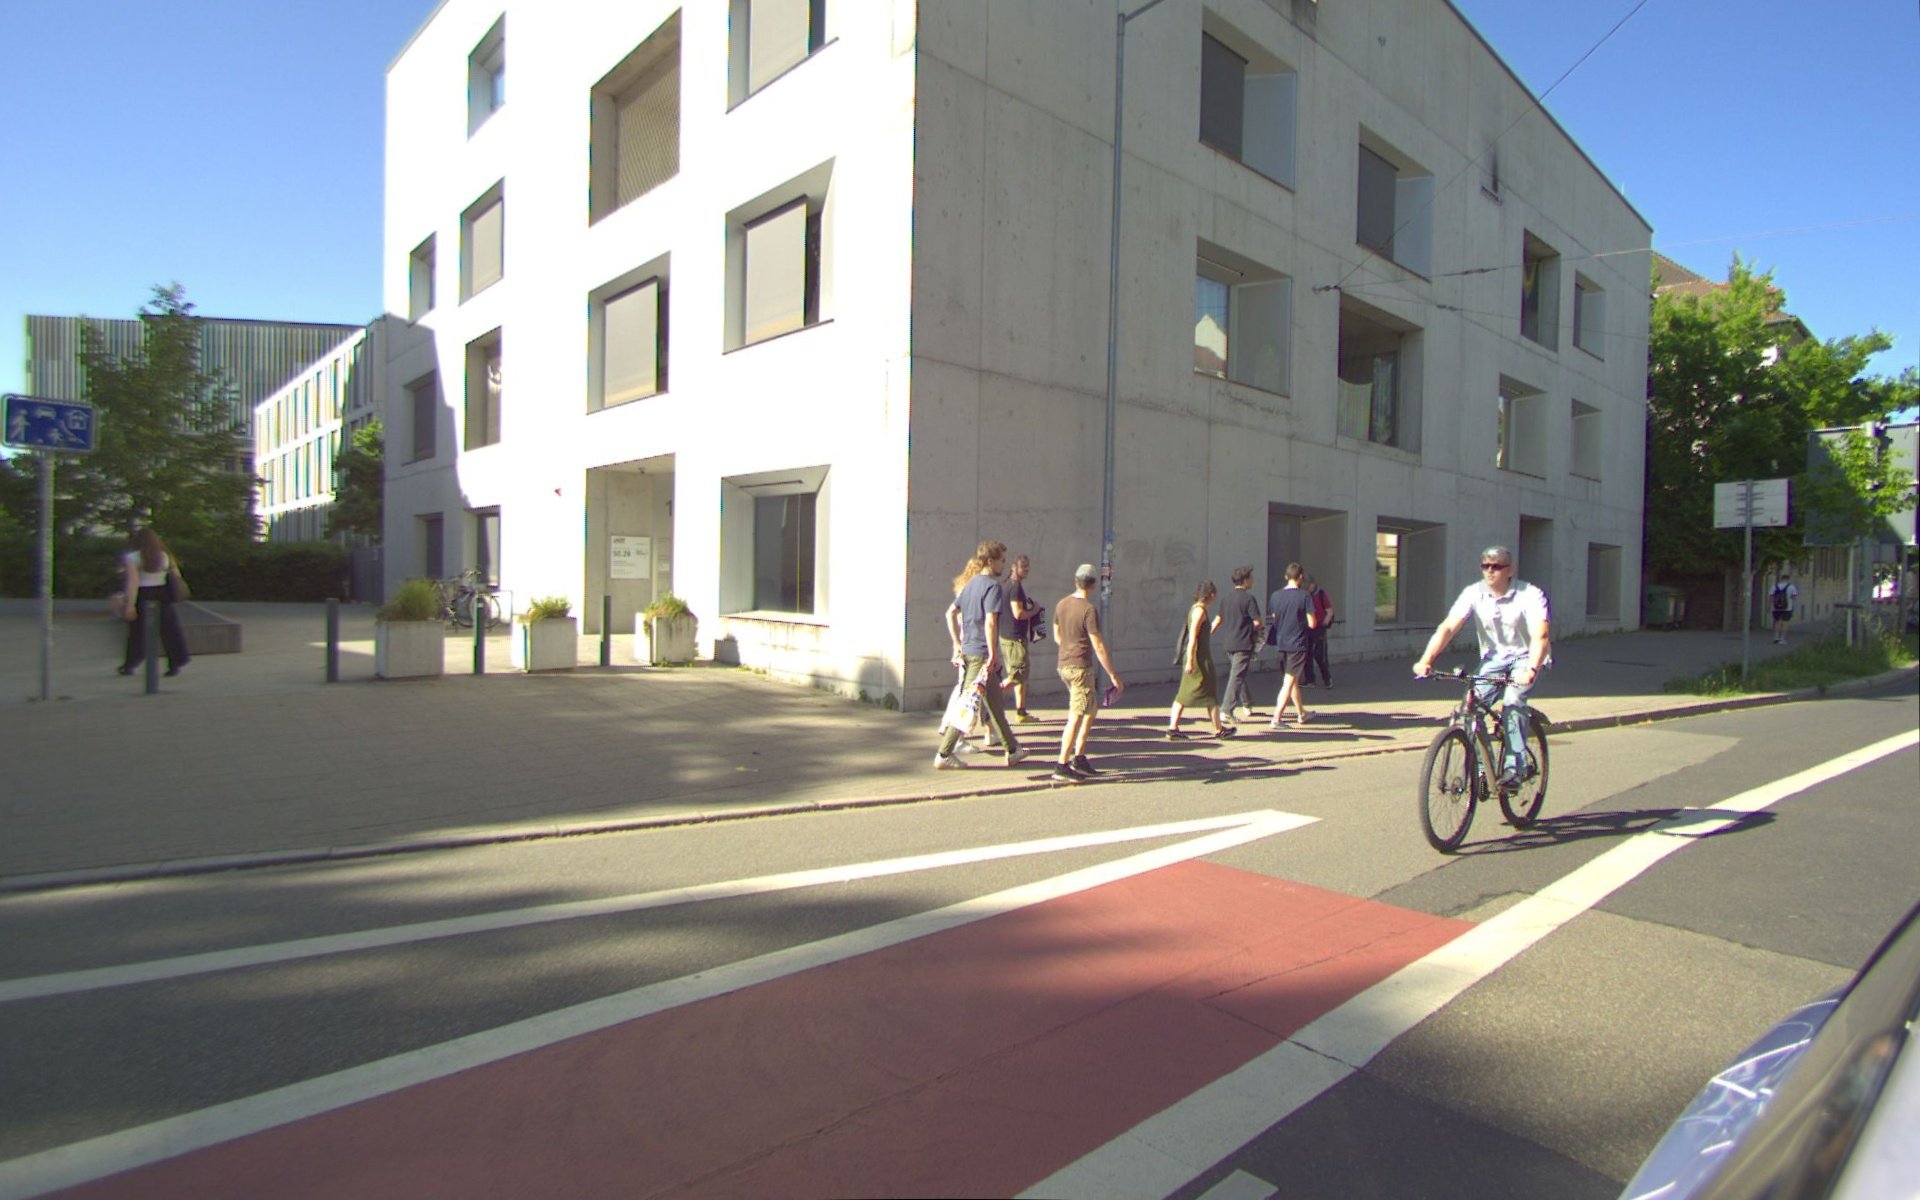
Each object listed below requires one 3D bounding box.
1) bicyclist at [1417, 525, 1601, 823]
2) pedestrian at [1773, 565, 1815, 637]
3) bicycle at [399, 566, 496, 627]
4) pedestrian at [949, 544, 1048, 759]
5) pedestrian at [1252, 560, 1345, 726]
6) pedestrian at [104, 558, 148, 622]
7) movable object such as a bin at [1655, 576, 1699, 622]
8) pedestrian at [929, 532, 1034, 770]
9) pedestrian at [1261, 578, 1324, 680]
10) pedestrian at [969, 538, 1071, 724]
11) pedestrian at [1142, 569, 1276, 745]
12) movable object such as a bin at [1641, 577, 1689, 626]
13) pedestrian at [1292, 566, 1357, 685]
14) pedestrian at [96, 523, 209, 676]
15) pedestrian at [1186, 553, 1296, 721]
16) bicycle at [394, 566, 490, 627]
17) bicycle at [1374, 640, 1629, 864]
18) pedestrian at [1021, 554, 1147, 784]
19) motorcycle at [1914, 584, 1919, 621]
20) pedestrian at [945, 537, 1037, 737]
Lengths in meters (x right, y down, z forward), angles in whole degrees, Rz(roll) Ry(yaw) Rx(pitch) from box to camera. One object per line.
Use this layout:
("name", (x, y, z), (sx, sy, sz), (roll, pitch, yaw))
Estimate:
("bicyclist", (3.465, 0.416, 6.387), (0.955, 1.707, 0.740), (0, 0, -41))
("pedestrian", (22.406, 0.017, 27.185), (0.940, 1.872, 0.684), (0, 3, -44))
("bicycle", (-9.638, -0.080, 19.056), (1.558, 1.108, 0.498), (-1, 2, -39))
("pedestrian", (0.323, 0.436, 8.922), (0.721, 1.795, 0.530), (3, 4, -2))
("pedestrian", (3.754, 0.450, 11.235), (0.802, 1.748, 0.496), (0, 6, -40))
("pedestrian", (-16.302, -0.207, 19.784), (0.641, 1.207, 0.966), (0, 2, -41))
("movable object such as a bin", (23.611, -0.049, 33.337), (1.309, 1.481, 0.934), (0, 2, -44))
("pedestrian", (0.179, 0.410, 8.596), (0.600, 1.924, 0.521), (0, 4, -35))
("pedestrian", (4.824, 0.398, 14.682), (0.751, 1.421, 0.519), (0, 2, -40))
("pedestrian", (0.618, 0.300, 10.527), (0.717, 1.823, 0.660), (0, 5, -35))
("pedestrian", (2.514, 0.544, 10.283), (0.876, 1.623, 0.833), (1, 5, -32))
("movable object such as a bin", (22.295, 0.035, 32.004), (1.331, 1.481, 0.935), (0, 2, -41))
("pedestrian", (5.115, 0.338, 14.208), (0.751, 1.620, 0.519), (0, 2, -40))
("pedestrian", (-9.257, -0.037, 11.605), (0.990, 1.660, 0.847), (2, 3, 43))
("pedestrian", (3.200, 0.390, 11.528), (0.939, 1.783, 0.649), (0, 6, -40))
("bicycle", (-9.946, -0.089, 19.454), (1.564, 1.108, 0.498), (-1, 3, -39))
("bicycle", (3.469, 0.853, 6.392), (2.074, 1.108, 0.739), (0, 0, -41))
("pedestrian", (1.012, 0.536, 8.323), (0.704, 1.767, 0.609), (0, 5, -35))
("motorcycle", (40.456, 0.116, 42.036), (2.633, 1.506, 0.915), (-1, 4, -42))
("pedestrian", (0.280, 0.332, 9.584), (0.639, 1.795, 0.613), (3, 5, -11))
